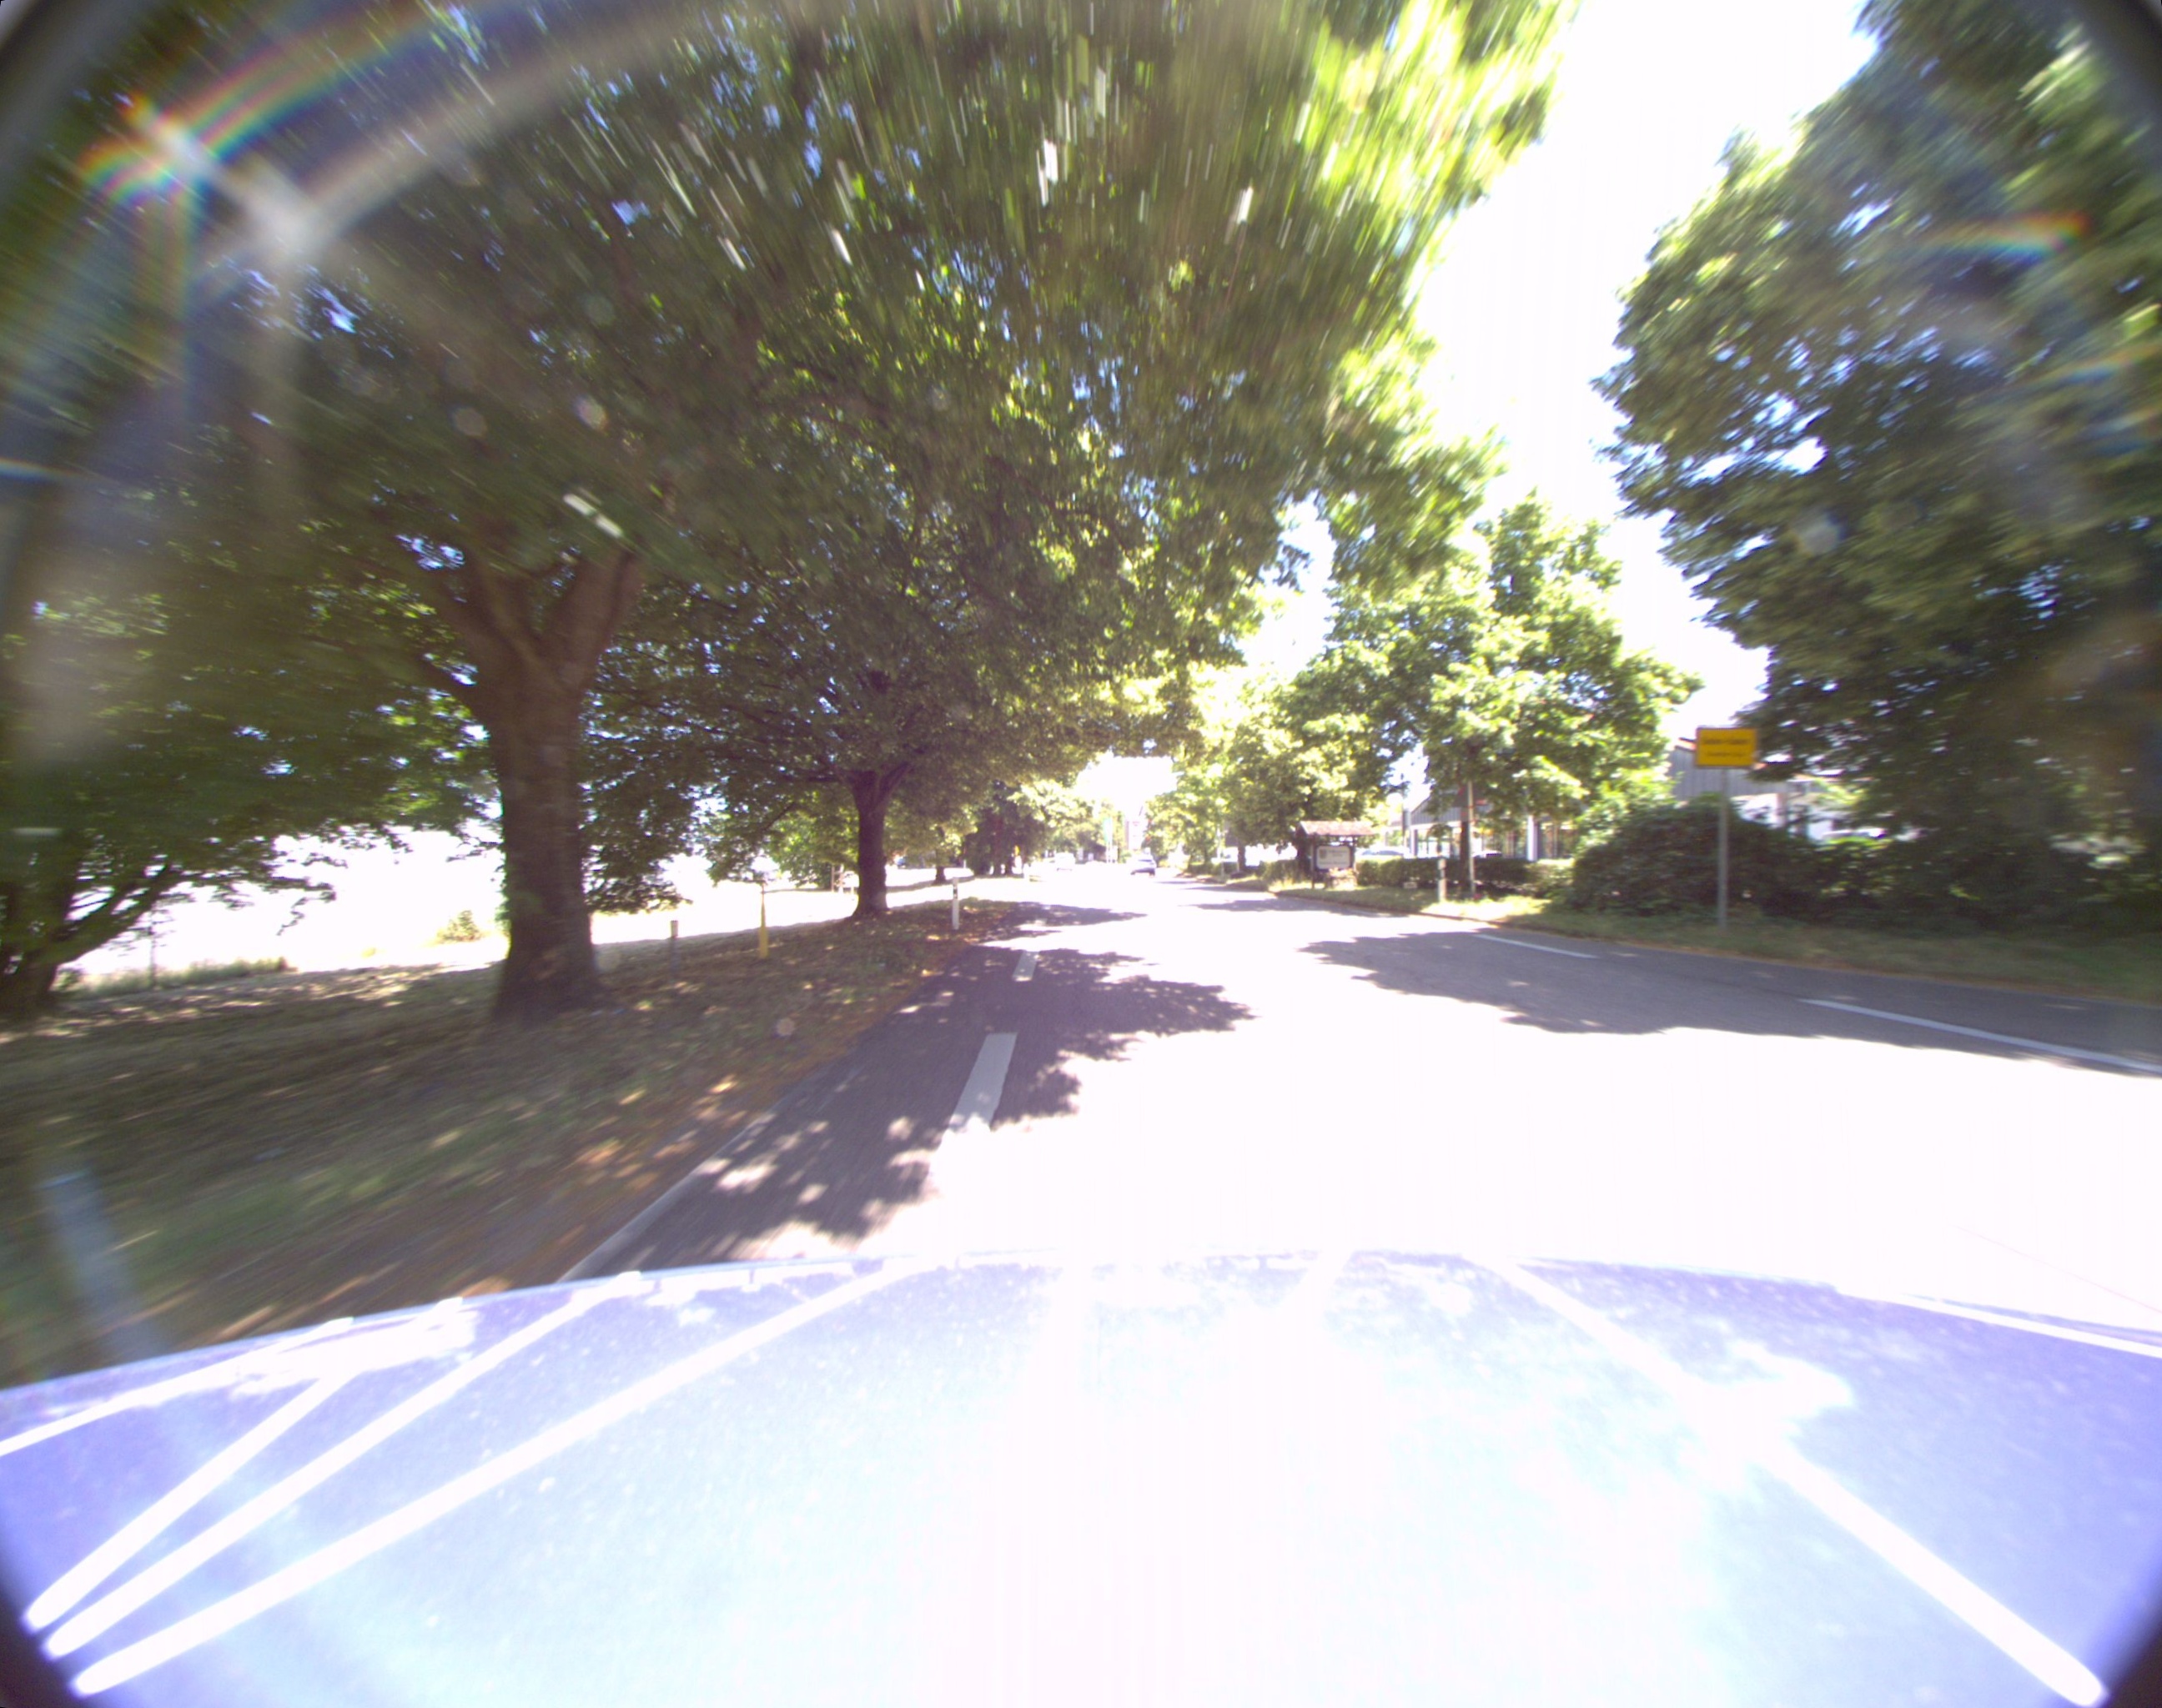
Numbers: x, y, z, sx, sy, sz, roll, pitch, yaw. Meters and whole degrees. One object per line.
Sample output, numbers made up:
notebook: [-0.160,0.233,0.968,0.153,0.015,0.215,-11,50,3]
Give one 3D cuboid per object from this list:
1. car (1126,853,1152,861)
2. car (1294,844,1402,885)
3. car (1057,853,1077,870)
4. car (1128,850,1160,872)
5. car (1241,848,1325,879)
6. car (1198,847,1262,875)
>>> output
car: [10.443,0.526,136.687,4.361,1.430,1.935,-1,0,-29]
car: [12.774,0.481,36.533,4.413,1.766,2.071,-2,1,-3]
car: [-1.636,0.826,85.591,1.797,1.904,3.637,-1,1,-8]
car: [5.078,0.547,61.890,2.099,1.579,4.474,-3,1,-1]
car: [11.974,0.542,45.271,4.413,1.611,1.894,-2,1,-3]
car: [11.348,0.484,58.082,4.369,1.969,1.904,-2,1,-5]
